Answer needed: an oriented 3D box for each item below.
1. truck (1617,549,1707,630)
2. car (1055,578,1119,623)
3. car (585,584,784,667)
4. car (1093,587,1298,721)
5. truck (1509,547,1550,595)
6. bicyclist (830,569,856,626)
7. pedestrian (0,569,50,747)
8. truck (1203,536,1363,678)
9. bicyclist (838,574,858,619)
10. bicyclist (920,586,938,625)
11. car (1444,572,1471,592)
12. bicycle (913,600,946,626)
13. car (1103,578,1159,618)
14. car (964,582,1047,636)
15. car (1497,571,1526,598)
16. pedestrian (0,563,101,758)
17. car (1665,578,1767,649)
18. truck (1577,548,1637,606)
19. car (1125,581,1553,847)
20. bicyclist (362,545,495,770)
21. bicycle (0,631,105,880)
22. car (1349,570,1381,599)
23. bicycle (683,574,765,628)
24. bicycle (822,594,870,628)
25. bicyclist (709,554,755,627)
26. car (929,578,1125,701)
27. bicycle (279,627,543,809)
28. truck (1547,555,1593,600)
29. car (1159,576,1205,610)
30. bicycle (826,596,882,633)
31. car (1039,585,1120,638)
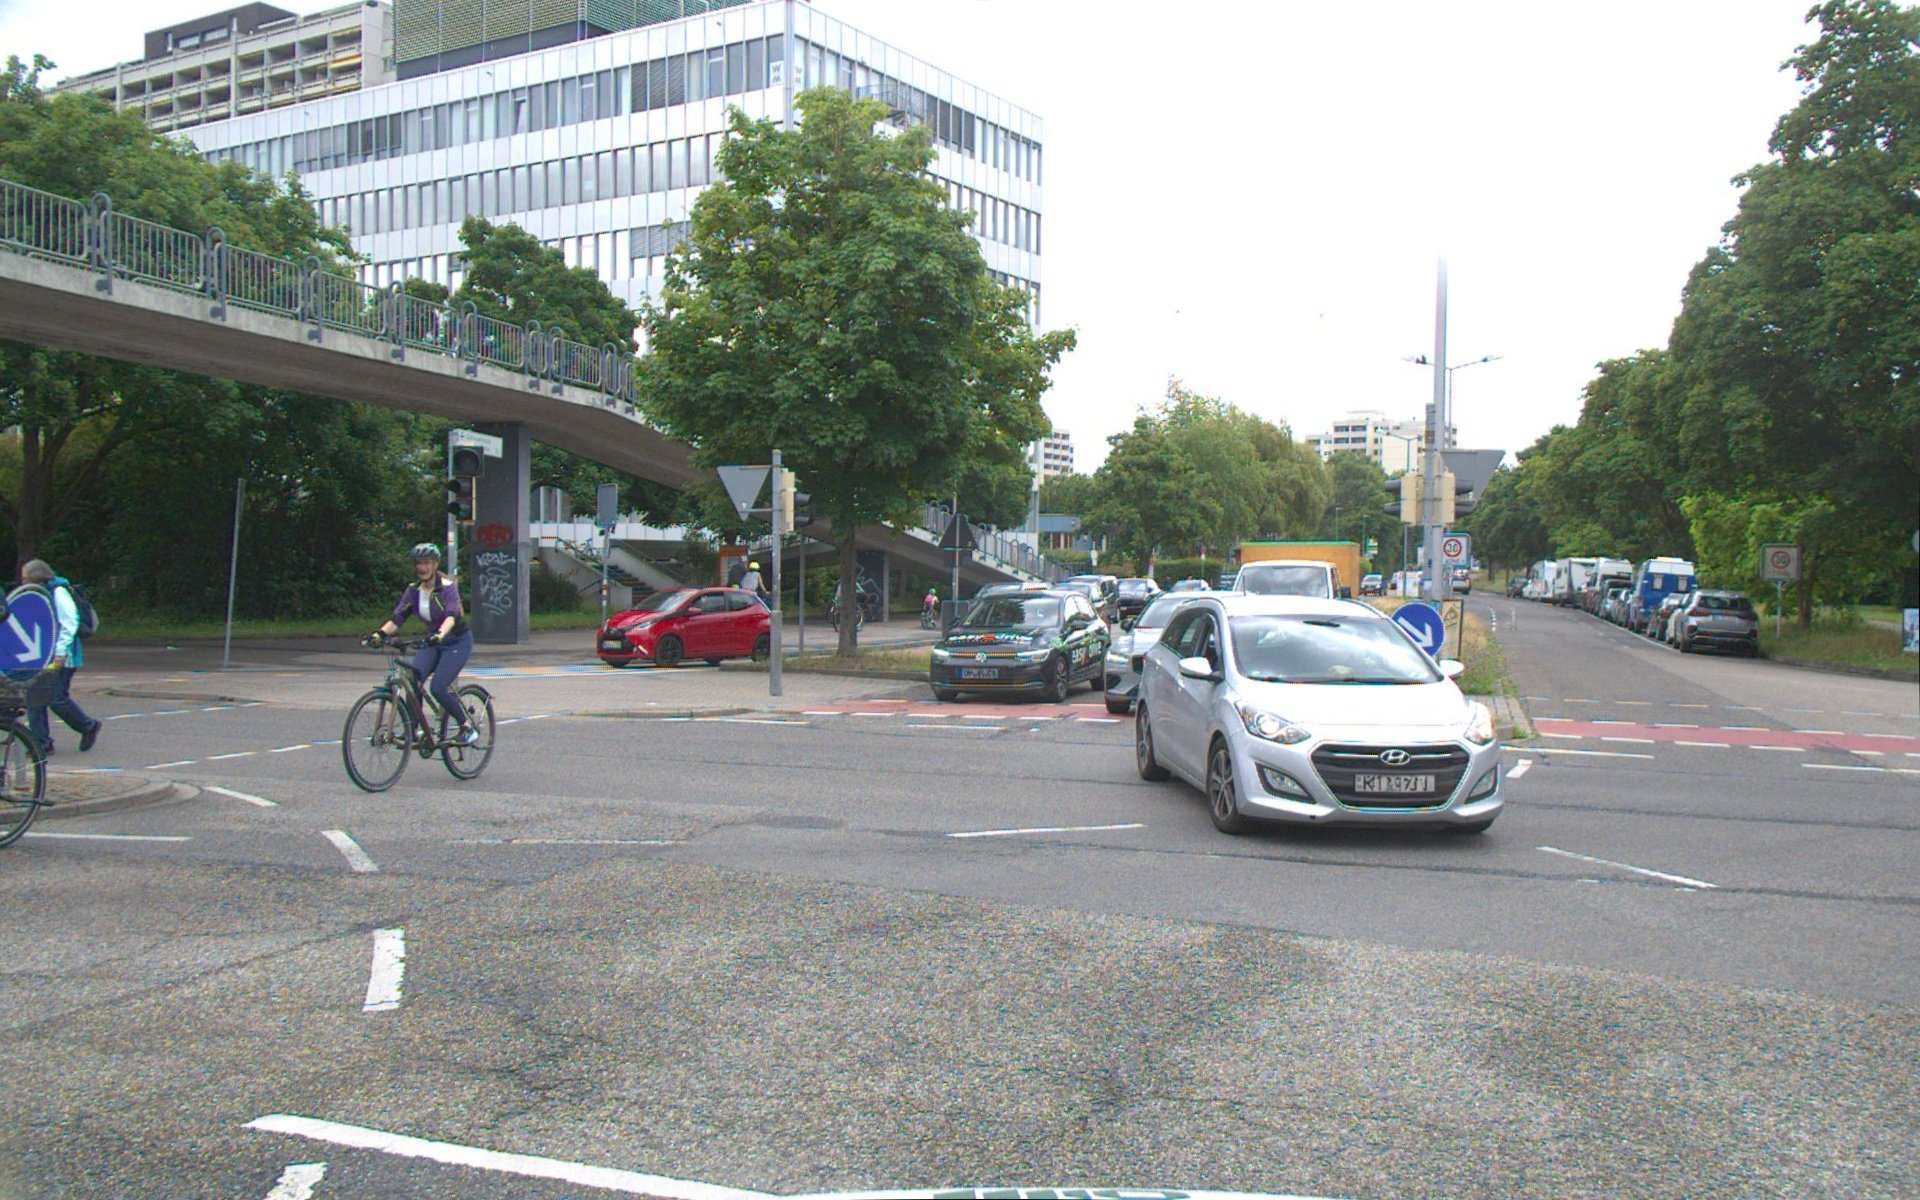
[{"bbox_3d":[24.836,-0.378,58.701,2.128,2.702,6.251,0,0,15],"label":"truck"},{"bbox_3d":[4.817,-0.014,62.176,1.636,1.579,3.765,1,1,16],"label":"car"},{"bbox_3d":[-5.016,0.435,30.468,1.489,1.414,3.514,1,1,40],"label":"car"},{"bbox_3d":[3.119,0.584,21.040,1.857,1.445,4.739,1,1,17],"label":"car"},{"bbox_3d":[37.626,-1.917,109.387,1.951,3.061,5.777,1,1,13],"label":"truck"},{"bbox_3d":[-3.490,-0.074,49.281,0.555,1.673,0.530,1,0,33],"label":"bicyclist"},{"bbox_3d":[-8.571,0.499,14.573,0.898,1.537,0.404,1,1,5],"label":"pedestrian"},{"bbox_3d":[5.832,0.041,29.269,2.110,2.237,5.844,1,1,18],"label":"truck"},{"bbox_3d":[-3.102,-0.103,45.936,0.396,1.202,0.377,4,3,18],"label":"bicyclist"},{"bbox_3d":[-0.983,0.173,53.114,0.421,1.239,0.568,1,1,15],"label":"bicyclist"},{"bbox_3d":[40.192,-1.443,133.654,1.977,1.531,4.003,1,1,15],"label":"car"},{"bbox_3d":[-0.975,0.401,53.092,0.499,0.792,1.842,1,1,17],"label":"bicycle"},{"bbox_3d":[7.162,-0.114,69.038,1.636,1.579,4.003,1,1,16],"label":"car"},{"bbox_3d":[1.473,0.256,51.871,1.636,1.579,3.895,1,1,16],"label":"car"},{"bbox_3d":[41.624,-1.165,124.859,1.616,1.951,3.923,1,2,12],"label":"car"},{"bbox_3d":[-7.813,0.500,14.149,0.672,1.632,0.488,1,1,11],"label":"pedestrian"},{"bbox_3d":[19.478,0.297,42.758,1.746,1.691,4.003,1,1,15],"label":"car"},{"bbox_3d":[33.850,-1.219,86.659,1.951,2.887,5.737,1,1,12],"label":"truck"},{"bbox_3d":[2.449,0.658,11.859,1.754,1.545,4.321,0,0,-5],"label":"car"},{"bbox_3d":[-3.970,0.408,12.377,0.664,1.622,0.695,1,0,16],"label":"bicyclist"},{"bbox_3d":[-5.445,0.850,8.554,0.531,1.289,2.112,1,1,15],"label":"bicycle"},{"bbox_3d":[28.884,-1.115,117.885,1.951,2.049,4.003,1,1,17],"label":"car"},{"bbox_3d":[-6.243,0.001,43.957,0.838,1.338,3.232,1,2,18],"label":"bicycle"},{"bbox_3d":[-3.393,0.322,49.456,0.517,0.965,1.704,1,1,32],"label":"bicycle"},{"bbox_3d":[-6.117,-0.271,44.401,0.838,1.925,1.128,1,2,18],"label":"bicyclist"},{"bbox_3d":[1.047,0.458,22.999,1.732,1.503,4.393,1,1,16],"label":"car"},{"bbox_3d":[-3.992,0.810,12.261,0.711,1.120,2.266,1,1,15],"label":"bicycle"},{"bbox_3d":[36.311,-1.322,98.526,1.951,2.617,5.383,1,1,14],"label":"truck"},{"bbox_3d":[10.986,-0.378,81.558,1.636,1.579,4.003,1,1,16],"label":"car"},{"bbox_3d":[-2.941,0.381,45.970,0.747,0.965,1.953,1,1,24],"label":"bicycle"},{"bbox_3d":[3.363,0.292,46.188,1.526,1.369,2.973,1,1,19],"label":"car"}]
